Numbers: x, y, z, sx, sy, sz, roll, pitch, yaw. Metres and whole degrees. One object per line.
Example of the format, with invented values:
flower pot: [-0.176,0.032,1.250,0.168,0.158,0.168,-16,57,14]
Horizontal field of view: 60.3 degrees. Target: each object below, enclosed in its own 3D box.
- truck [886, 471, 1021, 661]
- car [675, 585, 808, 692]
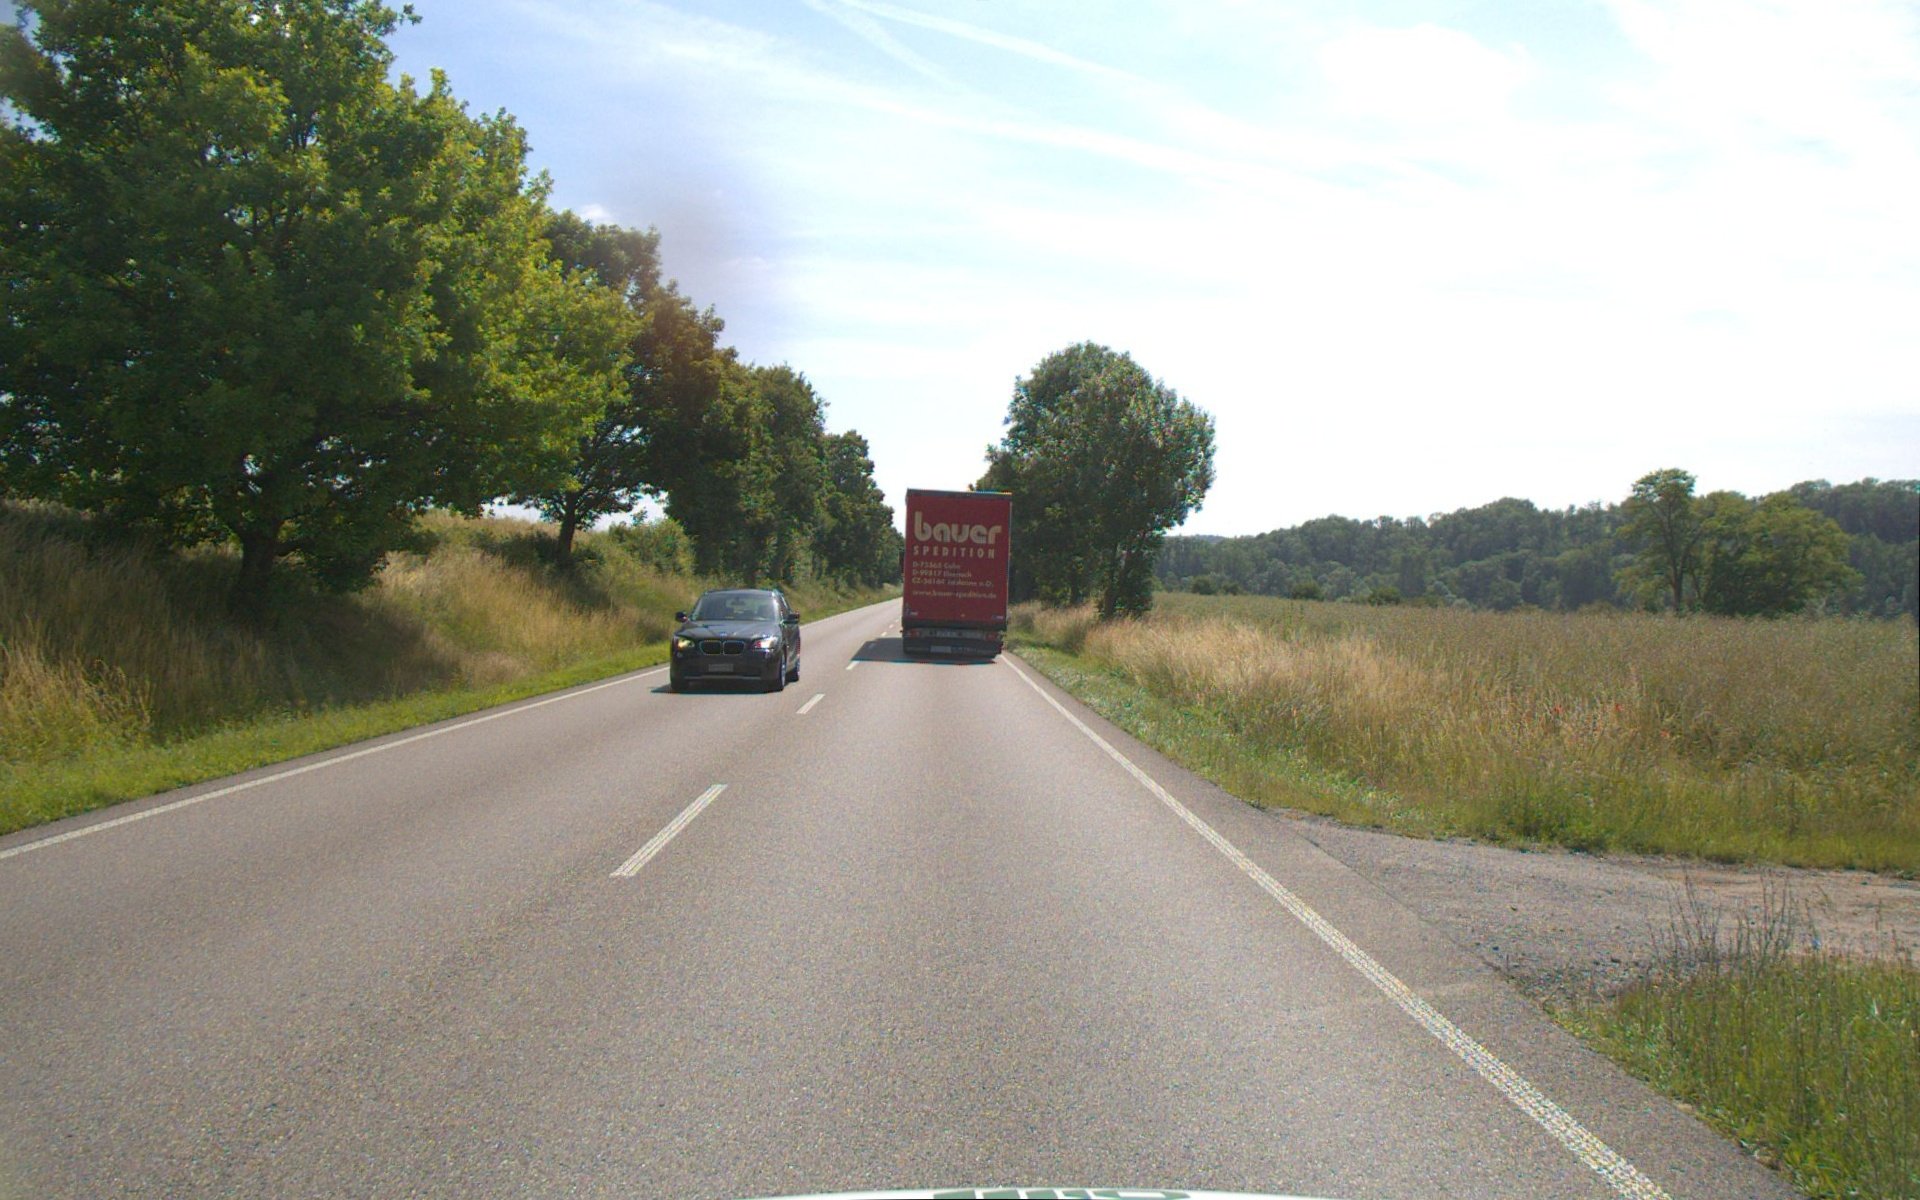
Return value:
truck: [-0.263,-0.789,42.894,3.032,4.337,8.311,2,0,-2]
car: [-3.442,0.575,26.713,1.623,1.561,4.357,1,0,-1]
